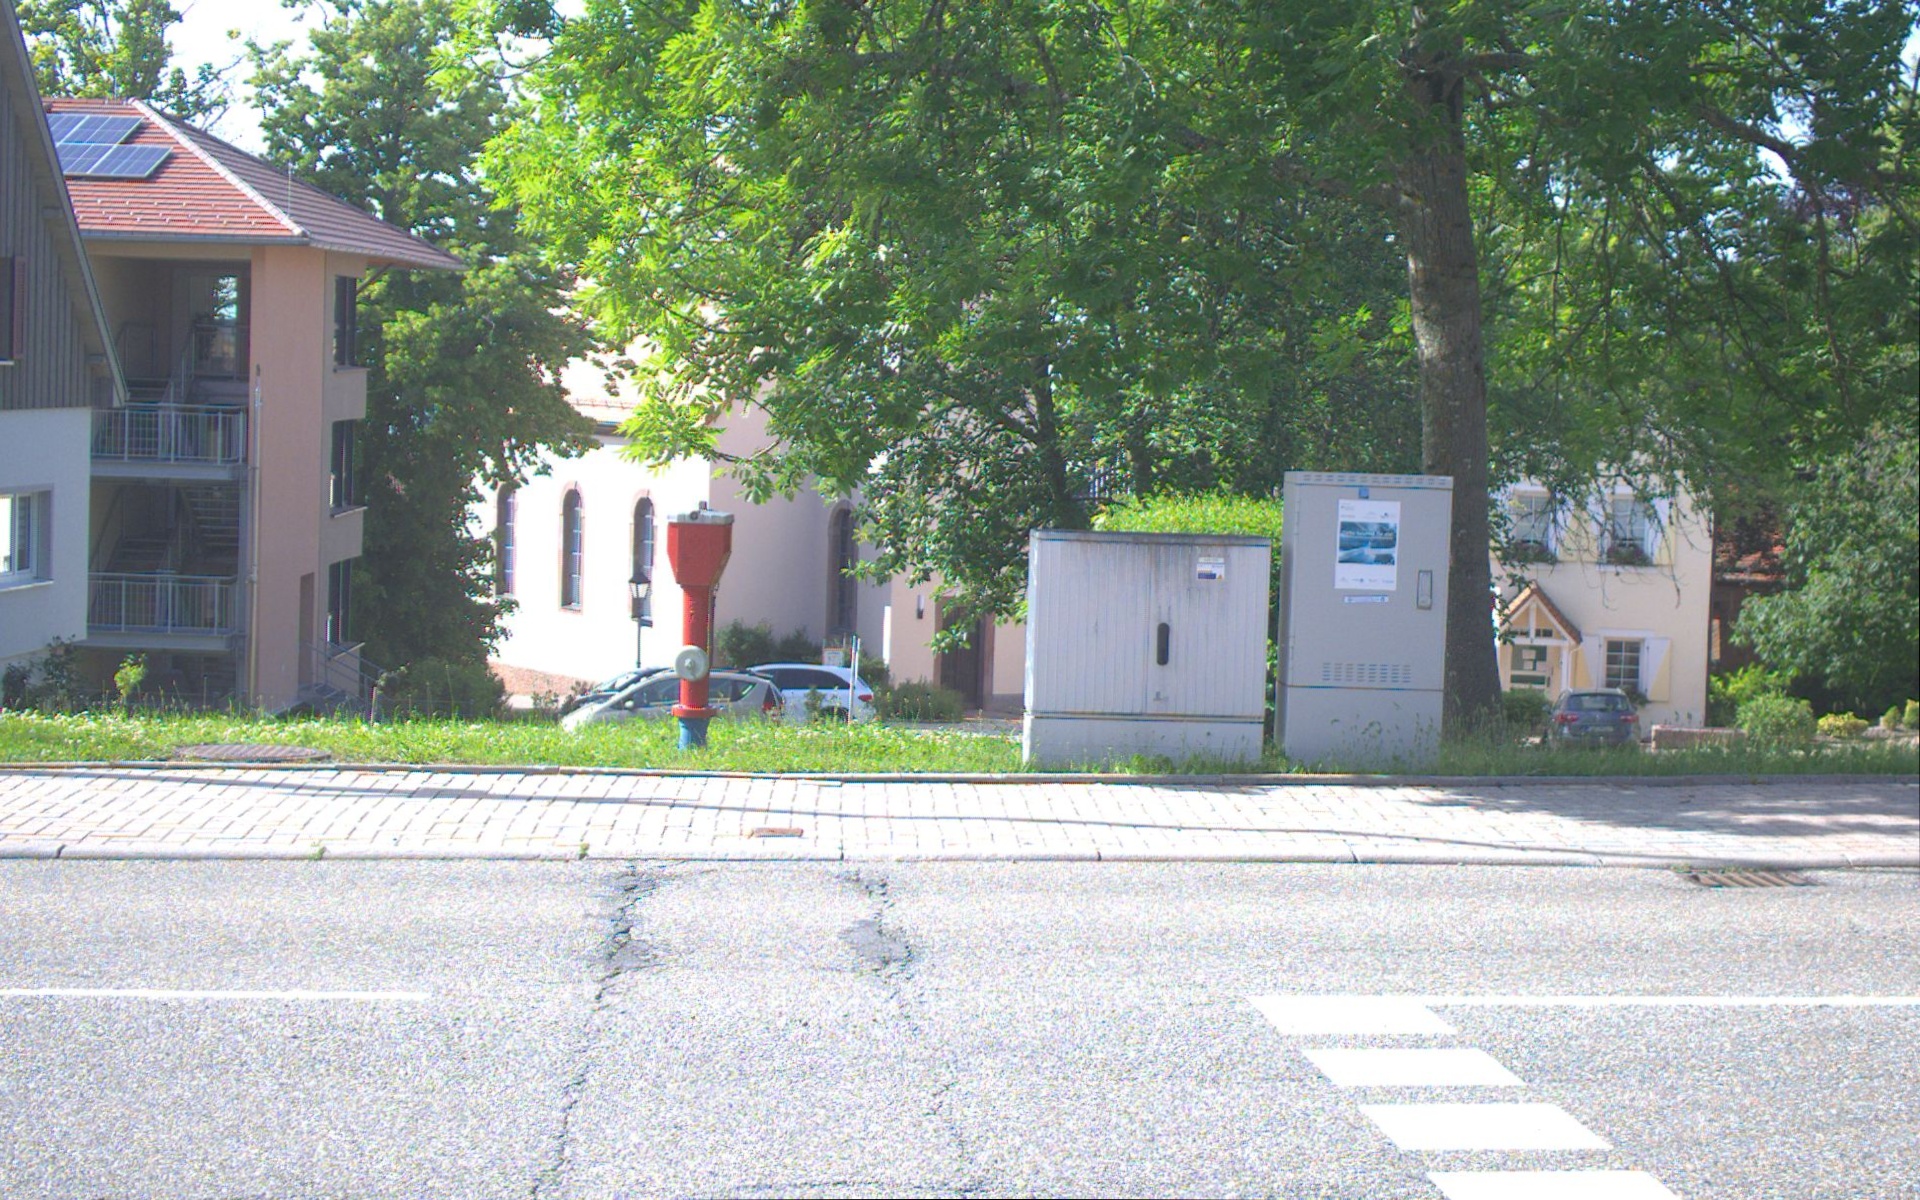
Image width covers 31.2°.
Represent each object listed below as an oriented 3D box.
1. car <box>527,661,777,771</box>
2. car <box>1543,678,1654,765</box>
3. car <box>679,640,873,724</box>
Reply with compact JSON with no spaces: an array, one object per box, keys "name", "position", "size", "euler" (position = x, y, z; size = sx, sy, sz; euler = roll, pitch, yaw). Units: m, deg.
[{"name":"car","position":[-5.157,1.939,57.658],"size":[4.089,1.752,1.714],"euler":[1,0,-5]},{"name":"car","position":[12.585,2.383,67.927],"size":[1.708,1.536,3.785],"euler":[0,0,4]},{"name":"car","position":[-3.678,1.628,68.504],"size":[3.772,1.588,1.714],"euler":[1,0,-6]}]
